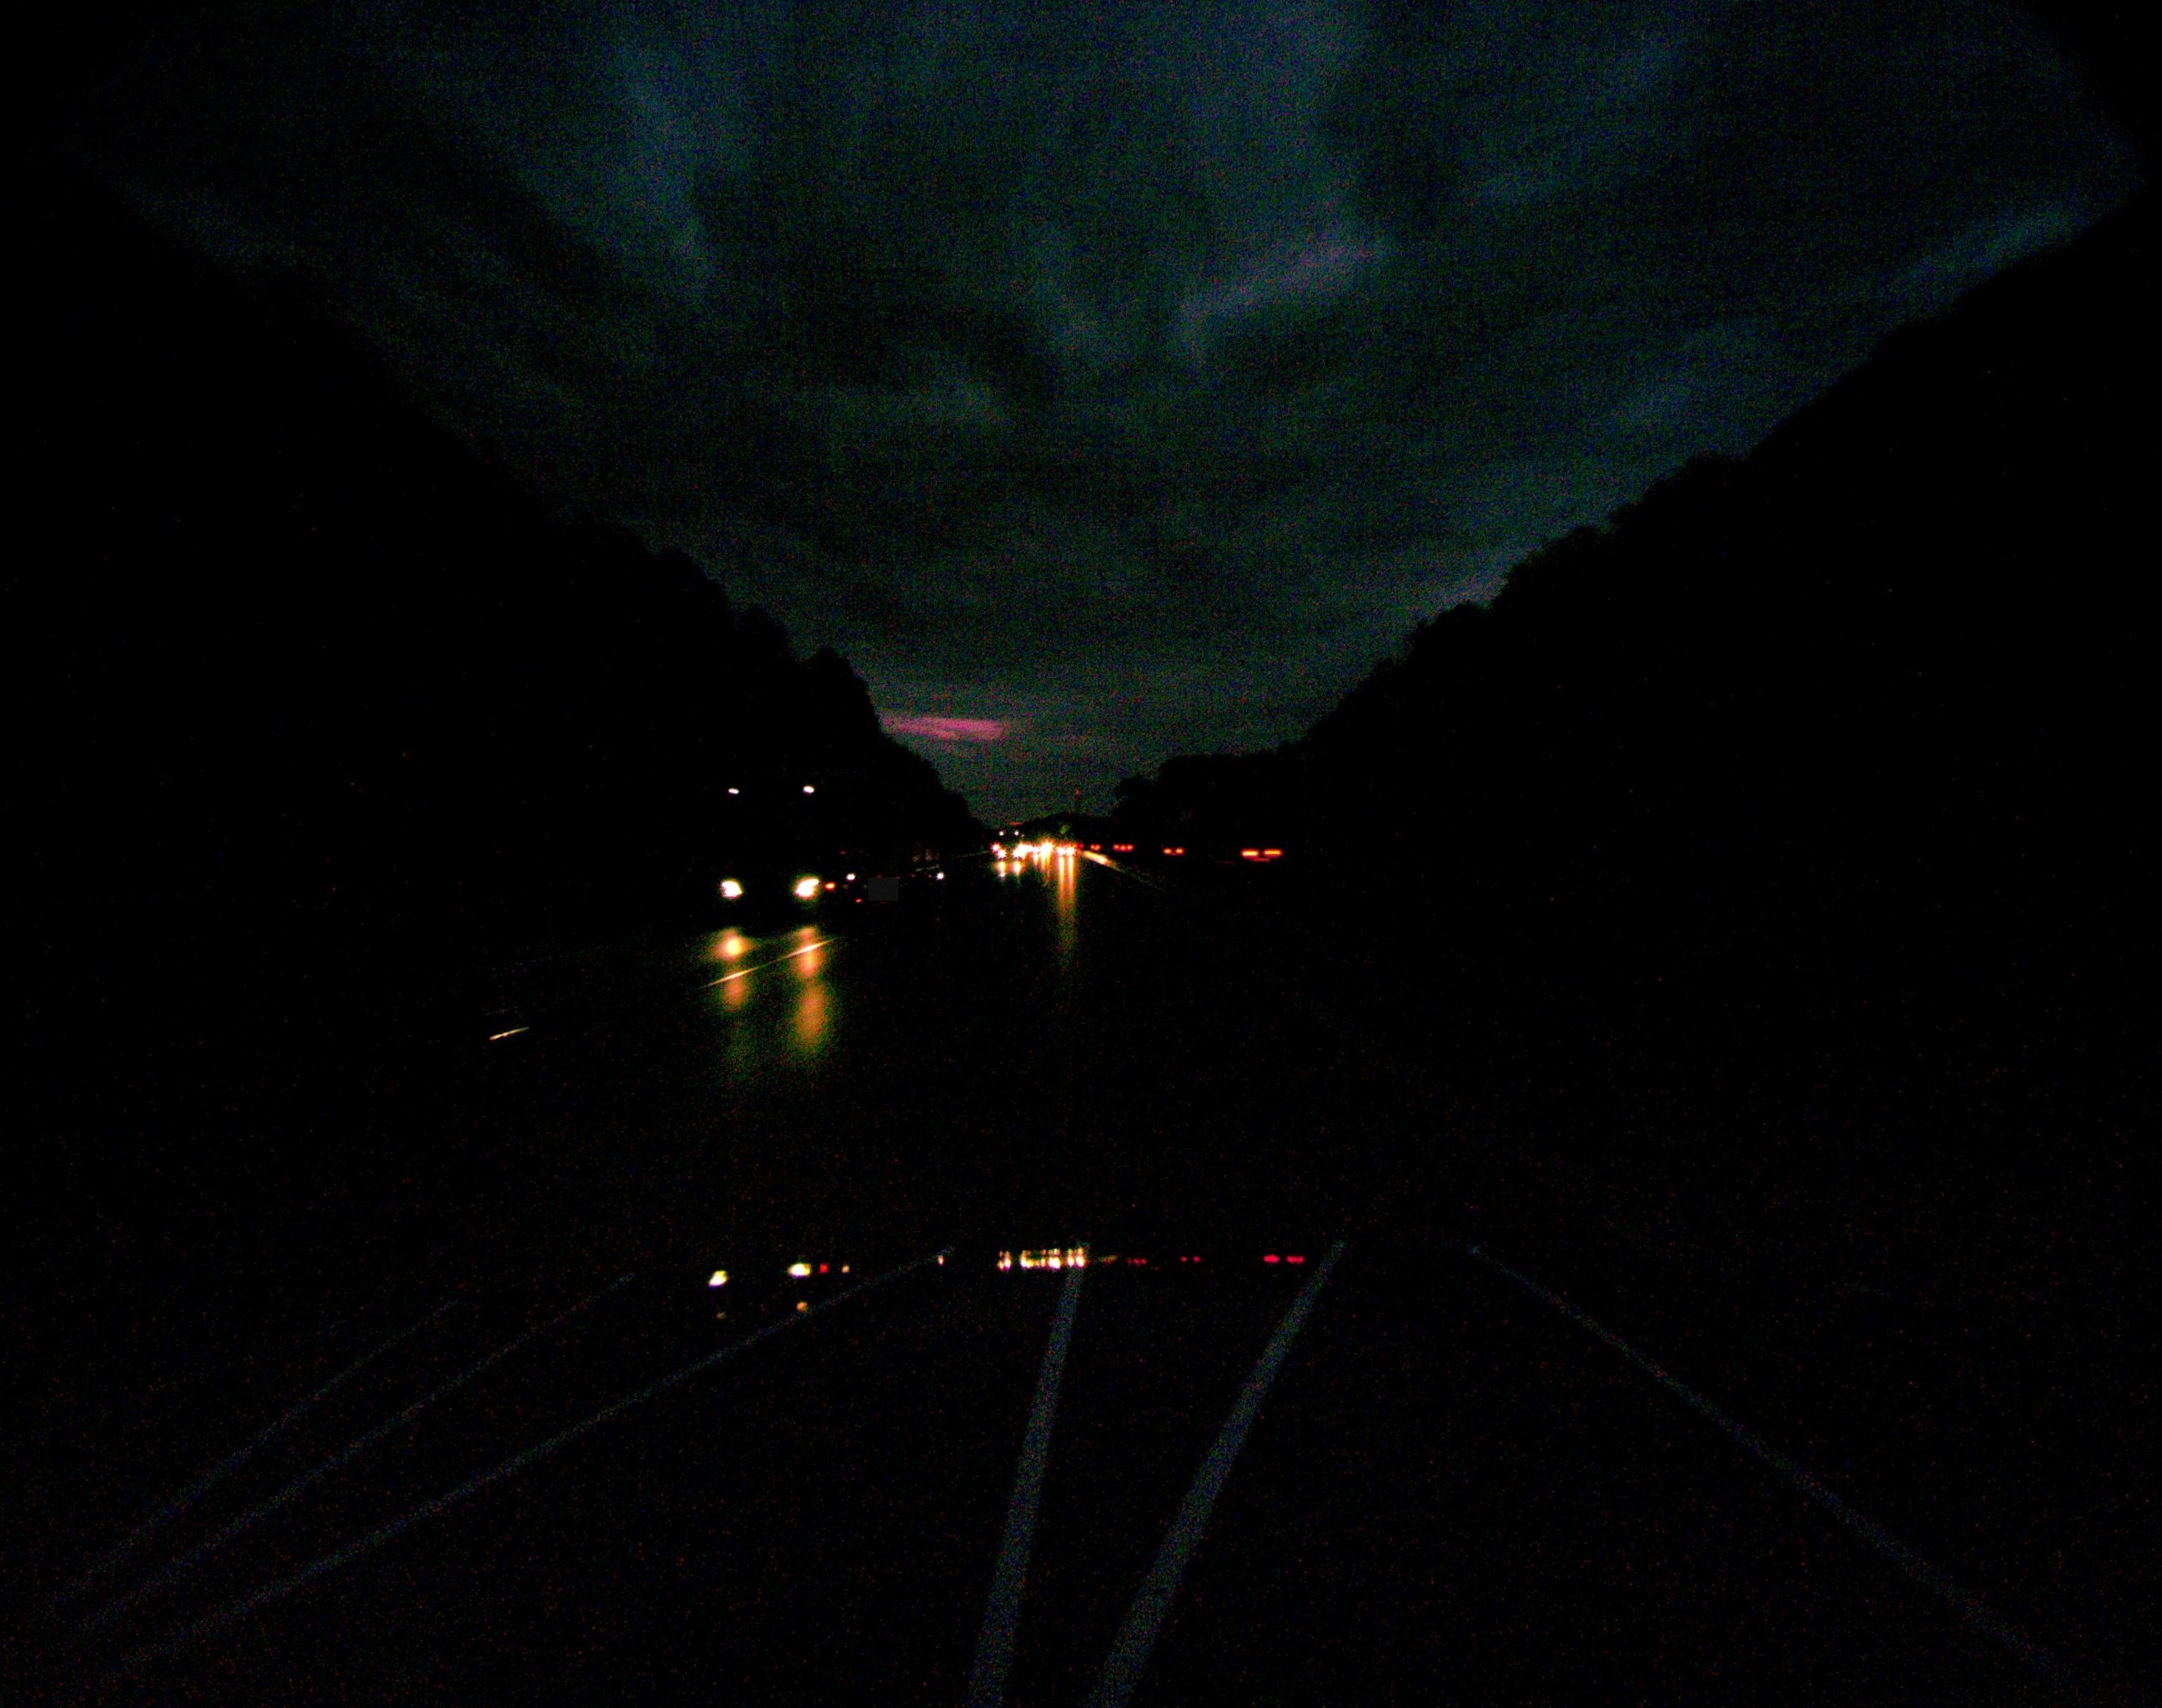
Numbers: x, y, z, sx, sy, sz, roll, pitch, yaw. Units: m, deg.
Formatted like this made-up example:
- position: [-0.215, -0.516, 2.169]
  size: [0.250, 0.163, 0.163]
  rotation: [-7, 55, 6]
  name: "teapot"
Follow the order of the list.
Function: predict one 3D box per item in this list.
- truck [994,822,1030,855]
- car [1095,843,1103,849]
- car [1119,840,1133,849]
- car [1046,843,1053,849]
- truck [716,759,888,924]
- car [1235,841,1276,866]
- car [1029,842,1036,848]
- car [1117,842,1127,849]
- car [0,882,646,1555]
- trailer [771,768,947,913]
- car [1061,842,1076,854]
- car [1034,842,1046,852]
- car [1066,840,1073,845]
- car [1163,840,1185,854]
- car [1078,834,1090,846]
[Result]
- position: [-8.930, -1.991, 100.424]
  size: [3.341, 3.945, 13.534]
  rotation: [-1, 1, 0]
  name: "truck"
- position: [4.542, -2.040, 190.763]
  size: [1.824, 1.548, 4.334]
  rotation: [-1, 1, -2]
  name: "car"
- position: [8.582, -1.824, 145.571]
  size: [1.924, 1.706, 5.283]
  rotation: [-2, 1, -4]
  name: "car"
- position: [-8.827, -2.203, 212.891]
  size: [1.696, 1.481, 4.948]
  rotation: [0, 0, -1]
  name: "car"
- position: [-7.494, -0.340, 21.285]
  size: [2.497, 3.945, 5.590]
  rotation: [-1, 1, 2]
  name: "truck"
- position: [10.814, -0.065, 47.323]
  size: [1.601, 1.480, 4.230]
  rotation: [-2, 1, 0]
  name: "car"
- position: [-16.064, -2.949, 250.283]
  size: [1.999, 1.641, 3.999]
  rotation: [-2, 1, -1]
  name: "car"
- position: [9.409, -1.864, 174.445]
  size: [1.891, 1.551, 5.093]
  rotation: [-2, 1, -2]
  name: "car"
- position: [-3.515, 0.984, 2.251]
  size: [1.696, 1.481, 4.947]
  rotation: [-2, 1, -2]
  name: "car"
- position: [-7.488, -0.491, 28.331]
  size: [2.489, 4.050, 13.502]
  rotation: [-1, 1, 0]
  name: "trailer"
- position: [-1.834, -0.873, 115.159]
  size: [1.869, 1.700, 4.585]
  rotation: [-2, 0, 4]
  name: "car"
- position: [-7.616, -1.360, 142.196]
  size: [1.923, 1.706, 4.942]
  rotation: [-2, 1, -1]
  name: "car"
- position: [-4.028, -3.791, 256.370]
  size: [1.999, 1.598, 4.658]
  rotation: [-2, 1, -5]
  name: "car"
- position: [10.254, -0.750, 84.166]
  size: [1.824, 1.470, 4.369]
  rotation: [-2, 1, -1]
  name: "car"
- position: [1.129, -4.815, 260.558]
  size: [3.144, 3.946, 8.598]
  rotation: [-2, 1, -6]
  name: "car"
